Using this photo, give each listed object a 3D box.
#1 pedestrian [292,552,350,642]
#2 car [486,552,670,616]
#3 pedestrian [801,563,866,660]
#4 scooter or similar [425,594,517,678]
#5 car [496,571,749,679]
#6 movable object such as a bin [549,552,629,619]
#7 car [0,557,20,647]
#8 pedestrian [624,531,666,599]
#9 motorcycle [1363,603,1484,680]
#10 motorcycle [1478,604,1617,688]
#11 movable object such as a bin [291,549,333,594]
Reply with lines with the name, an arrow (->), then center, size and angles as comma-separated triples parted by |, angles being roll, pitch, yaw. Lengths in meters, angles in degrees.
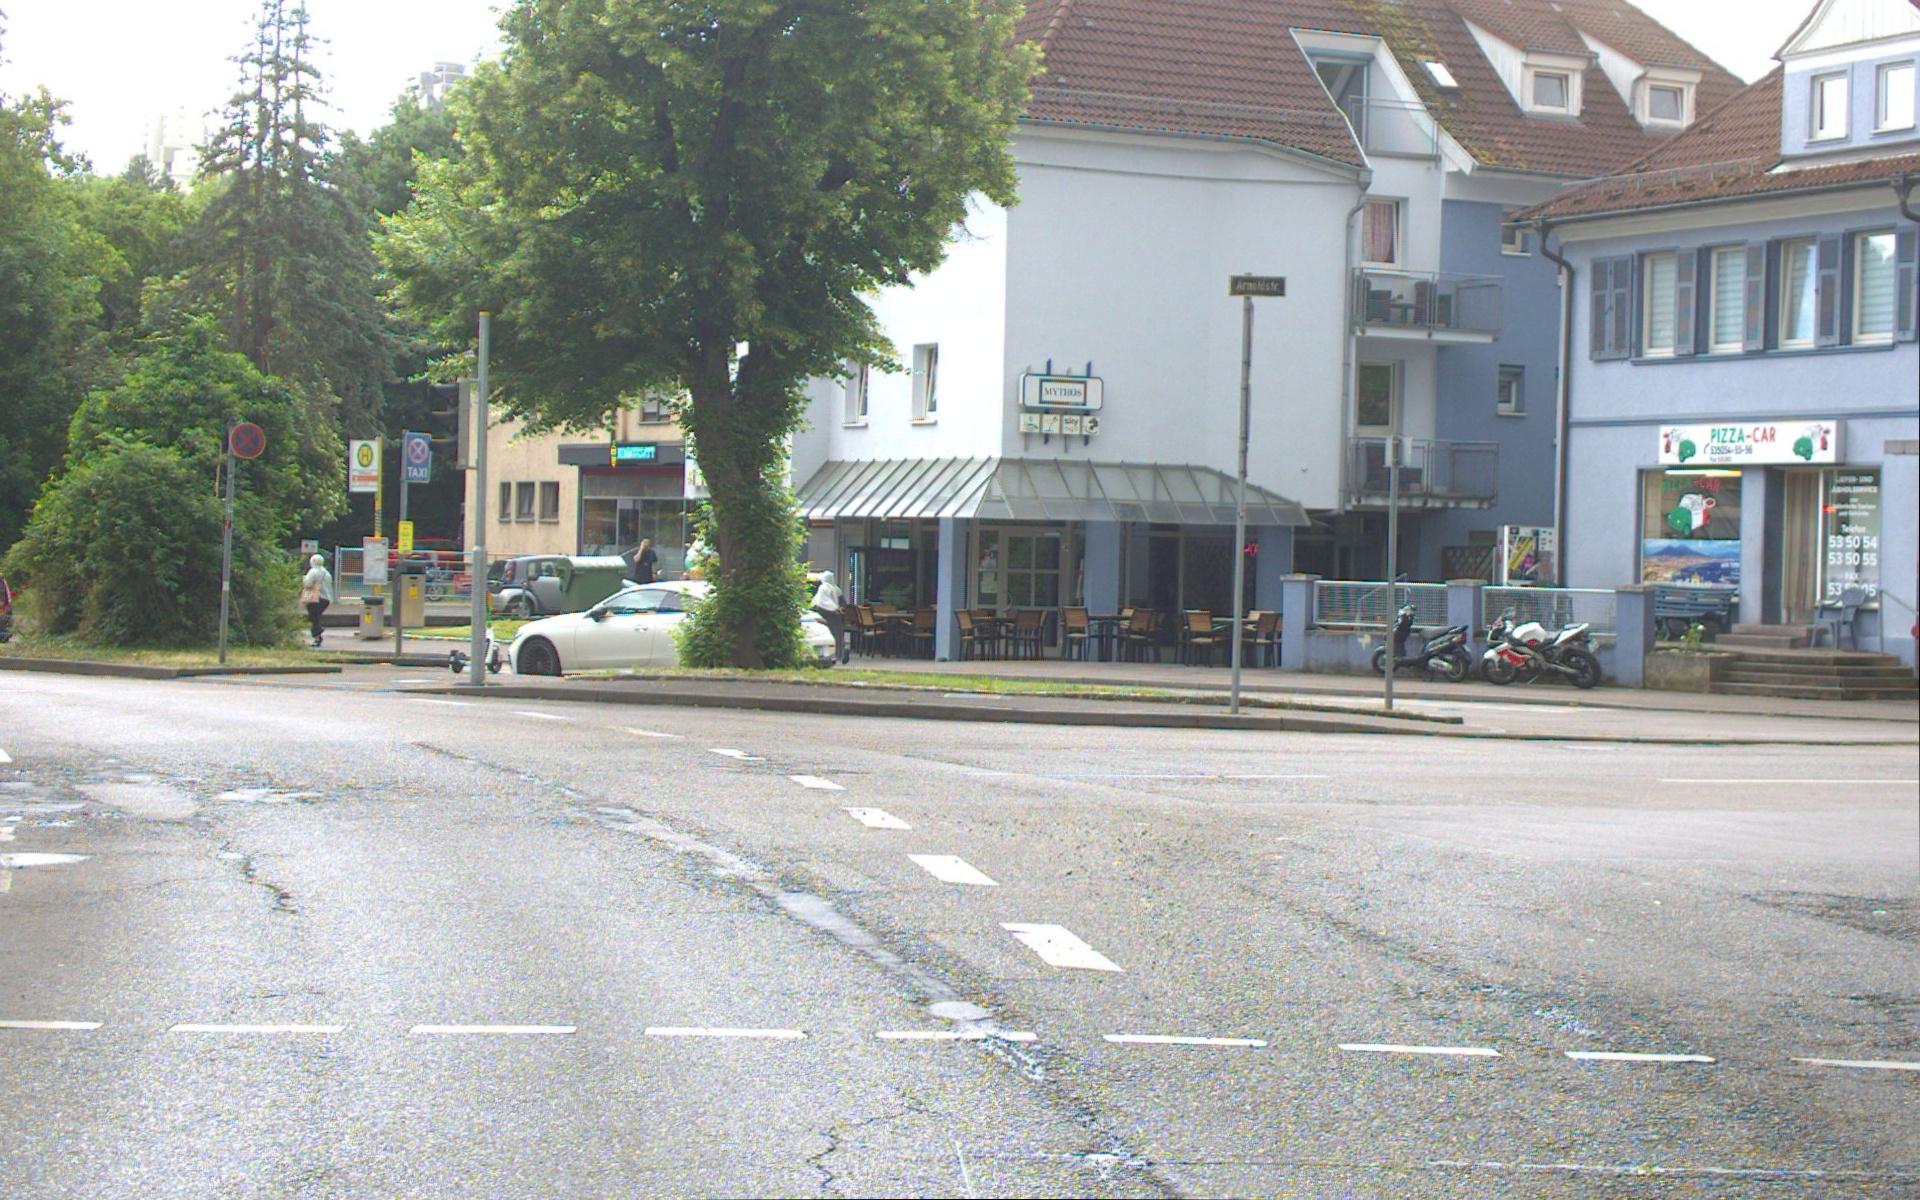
pedestrian -> -11.073, -0.048, 59.564 | 0.707, 1.539, 0.677 | 2, 1, 40
car -> -8.424, -0.360, 75.869 | 3.733, 1.340, 1.434 | 1, 1, -26
pedestrian -> -2.048, 0.176, 55.476 | 0.768, 1.539, 0.677 | 1, 1, 39
scooter or similar -> -6.056, 0.434, 42.647 | 0.417, 1.008, 1.565 | 1, 1, 20
car -> -4.528, 0.319, 46.040 | 3.171, 1.350, 1.436 | 2, 1, 35
movable object such as a bin -> -7.982, -0.318, 73.972 | 1.440, 1.404, 0.967 | 1, 1, -27
car -> -16.511, -0.009, 53.719 | 3.590, 1.389, 1.469 | 2, 1, 32
pedestrian -> -7.147, -0.795, 77.969 | 0.676, 1.539, 0.708 | 1, 1, -34
motorcycle -> 6.754, 0.599, 50.157 | 1.636, 1.060, 0.693 | 2, 1, 44
motorcycle -> 8.260, 0.637, 48.378 | 1.798, 1.118, 0.693 | 2, 1, 38
movable object such as a bin -> -16.246, -0.725, 86.164 | 0.950, 1.111, 0.383 | 1, 1, -21
